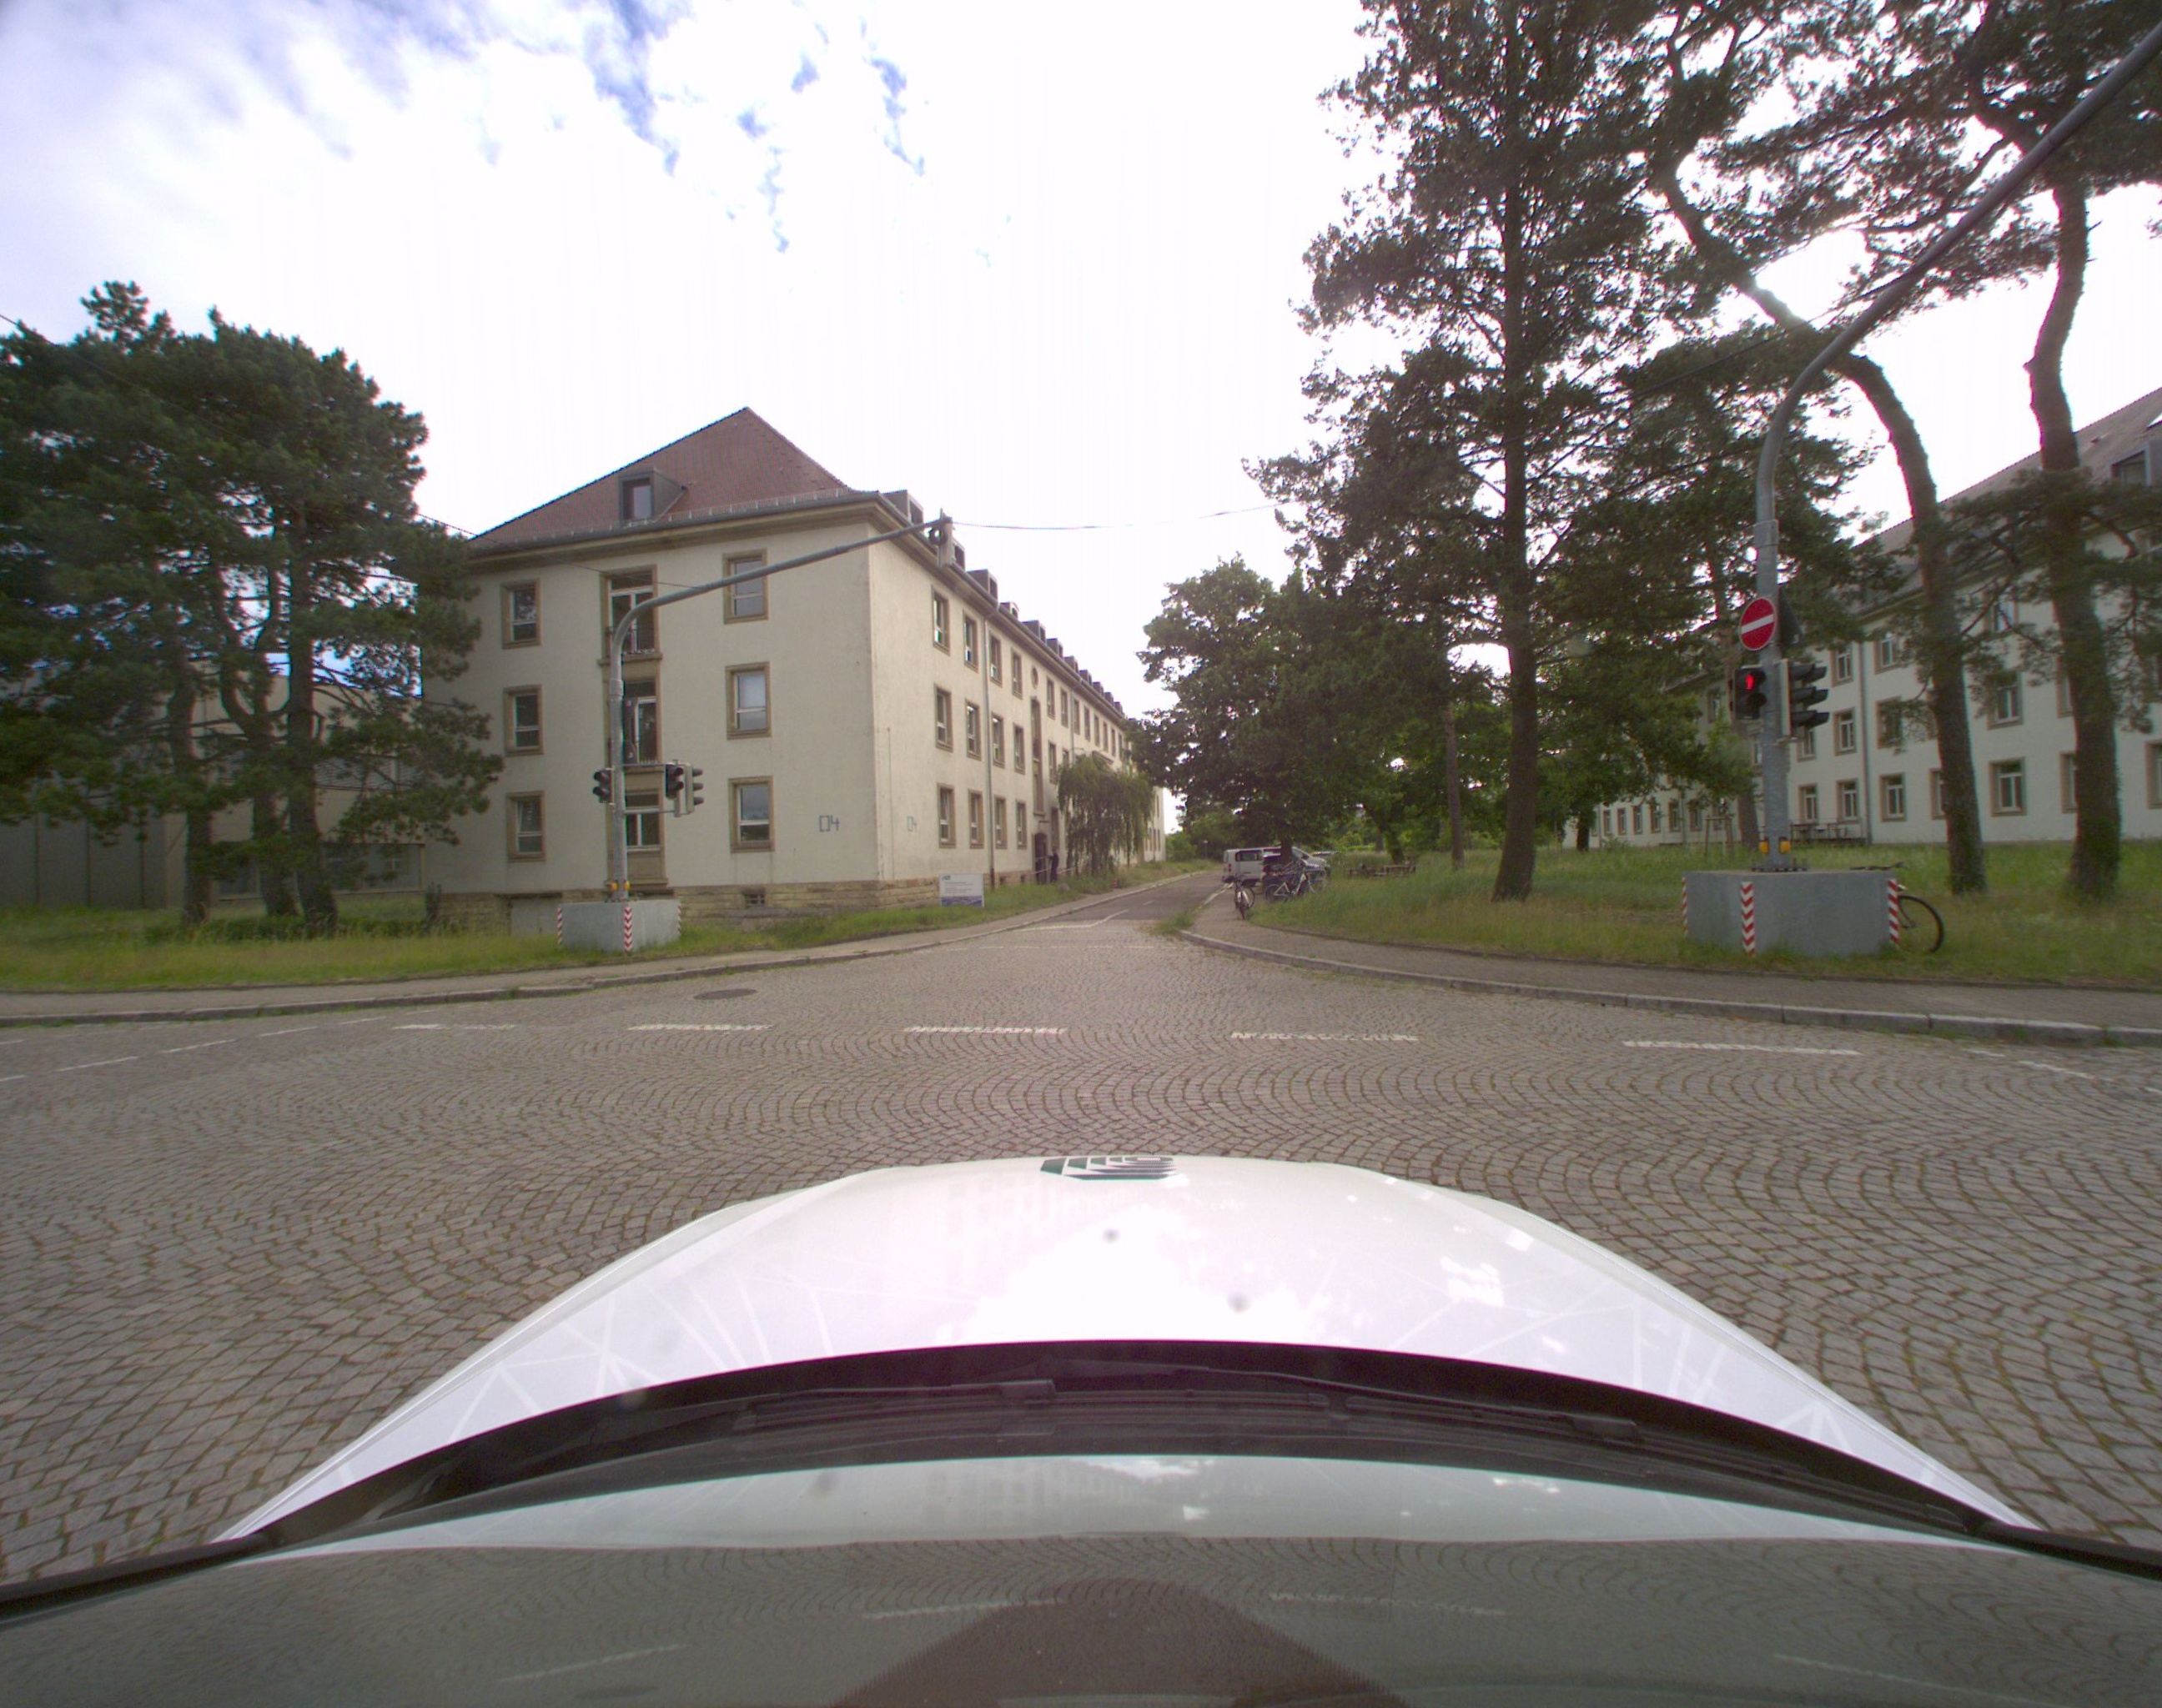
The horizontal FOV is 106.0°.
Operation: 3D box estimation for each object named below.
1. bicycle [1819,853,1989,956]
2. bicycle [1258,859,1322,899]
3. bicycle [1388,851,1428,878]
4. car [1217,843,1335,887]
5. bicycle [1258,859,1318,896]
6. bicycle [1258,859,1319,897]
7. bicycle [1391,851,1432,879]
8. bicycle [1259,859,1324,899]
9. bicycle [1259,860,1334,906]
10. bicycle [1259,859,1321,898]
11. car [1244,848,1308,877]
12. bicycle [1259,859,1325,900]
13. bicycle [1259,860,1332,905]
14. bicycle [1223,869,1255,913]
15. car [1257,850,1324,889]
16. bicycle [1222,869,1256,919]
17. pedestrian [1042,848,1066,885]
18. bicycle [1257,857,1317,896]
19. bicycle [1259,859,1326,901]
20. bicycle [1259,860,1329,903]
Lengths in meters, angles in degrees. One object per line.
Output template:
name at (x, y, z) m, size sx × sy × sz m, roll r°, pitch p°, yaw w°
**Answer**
bicycle at (9.165, 0.520, 9.156) m, size 0.576 × 0.970 × 1.685 m, roll -4°, pitch 1°, yaw 17°
bicycle at (6.797, 0.817, 26.549) m, size 1.969 × 1.248 × 0.626 m, roll -1°, pitch -1°, yaw 11°
bicycle at (14.439, 0.469, 35.967) m, size 1.538 × 1.125 × 0.402 m, roll -2°, pitch -1°, yaw 14°
car at (9.624, 0.547, 40.457) m, size 5.290 × 1.916 × 2.148 m, roll -3°, pitch -1°, yaw -2°
bicycle at (7.150, 0.825, 28.213) m, size 1.969 × 1.248 × 0.626 m, roll -1°, pitch -1°, yaw 11°
bicycle at (7.059, 0.823, 27.726) m, size 1.969 × 1.248 × 0.626 m, roll -1°, pitch -1°, yaw 11°
bicycle at (14.096, 0.467, 34.777) m, size 1.538 × 1.125 × 0.402 m, roll -2°, pitch -1°, yaw 14°
bicycle at (6.752, 0.814, 26.158) m, size 1.969 × 1.248 × 0.626 m, roll -1°, pitch -1°, yaw 11°
bicycle at (5.971, 0.798, 22.658) m, size 1.969 × 1.248 × 0.626 m, roll -1°, pitch -1°, yaw 11°
bicycle at (6.969, 0.820, 27.218) m, size 1.969 × 1.248 × 0.626 m, roll -1°, pitch -1°, yaw 11°
car at (12.890, 0.581, 54.009) m, size 4.005 × 1.718 × 1.686 m, roll -2°, pitch -1°, yaw 11°
bicycle at (6.623, 0.812, 25.646) m, size 1.969 × 1.248 × 0.626 m, roll -1°, pitch -1°, yaw 11°
bicycle at (6.108, 0.801, 23.274) m, size 1.969 × 1.248 × 0.626 m, roll -1°, pitch -1°, yaw 11°
bicycle at (4.200, 0.964, 21.595) m, size 0.617 × 1.082 × 1.685 m, roll -1°, pitch -1°, yaw 17°
car at (9.459, 0.698, 36.918) m, size 2.828 × 1.558 × 1.477 m, roll -3°, pitch 1°, yaw 12°
bicycle at (3.841, 0.938, 19.665) m, size 0.617 × 1.113 × 1.997 m, roll -1°, pitch -1°, yaw 16°
pedestrian at (-1.344, 0.609, 40.686) m, size 0.830 × 1.781 × 0.945 m, roll -2°, pitch -1°, yaw 18°
bicycle at (7.292, 0.790, 28.860) m, size 1.969 × 1.248 × 0.626 m, roll -4°, pitch -1°, yaw 11°
bicycle at (6.480, 0.809, 25.027) m, size 1.969 × 1.248 × 0.626 m, roll -1°, pitch -1°, yaw 11°
bicycle at (6.295, 0.805, 24.185) m, size 1.969 × 1.248 × 0.626 m, roll -1°, pitch -1°, yaw 11°
